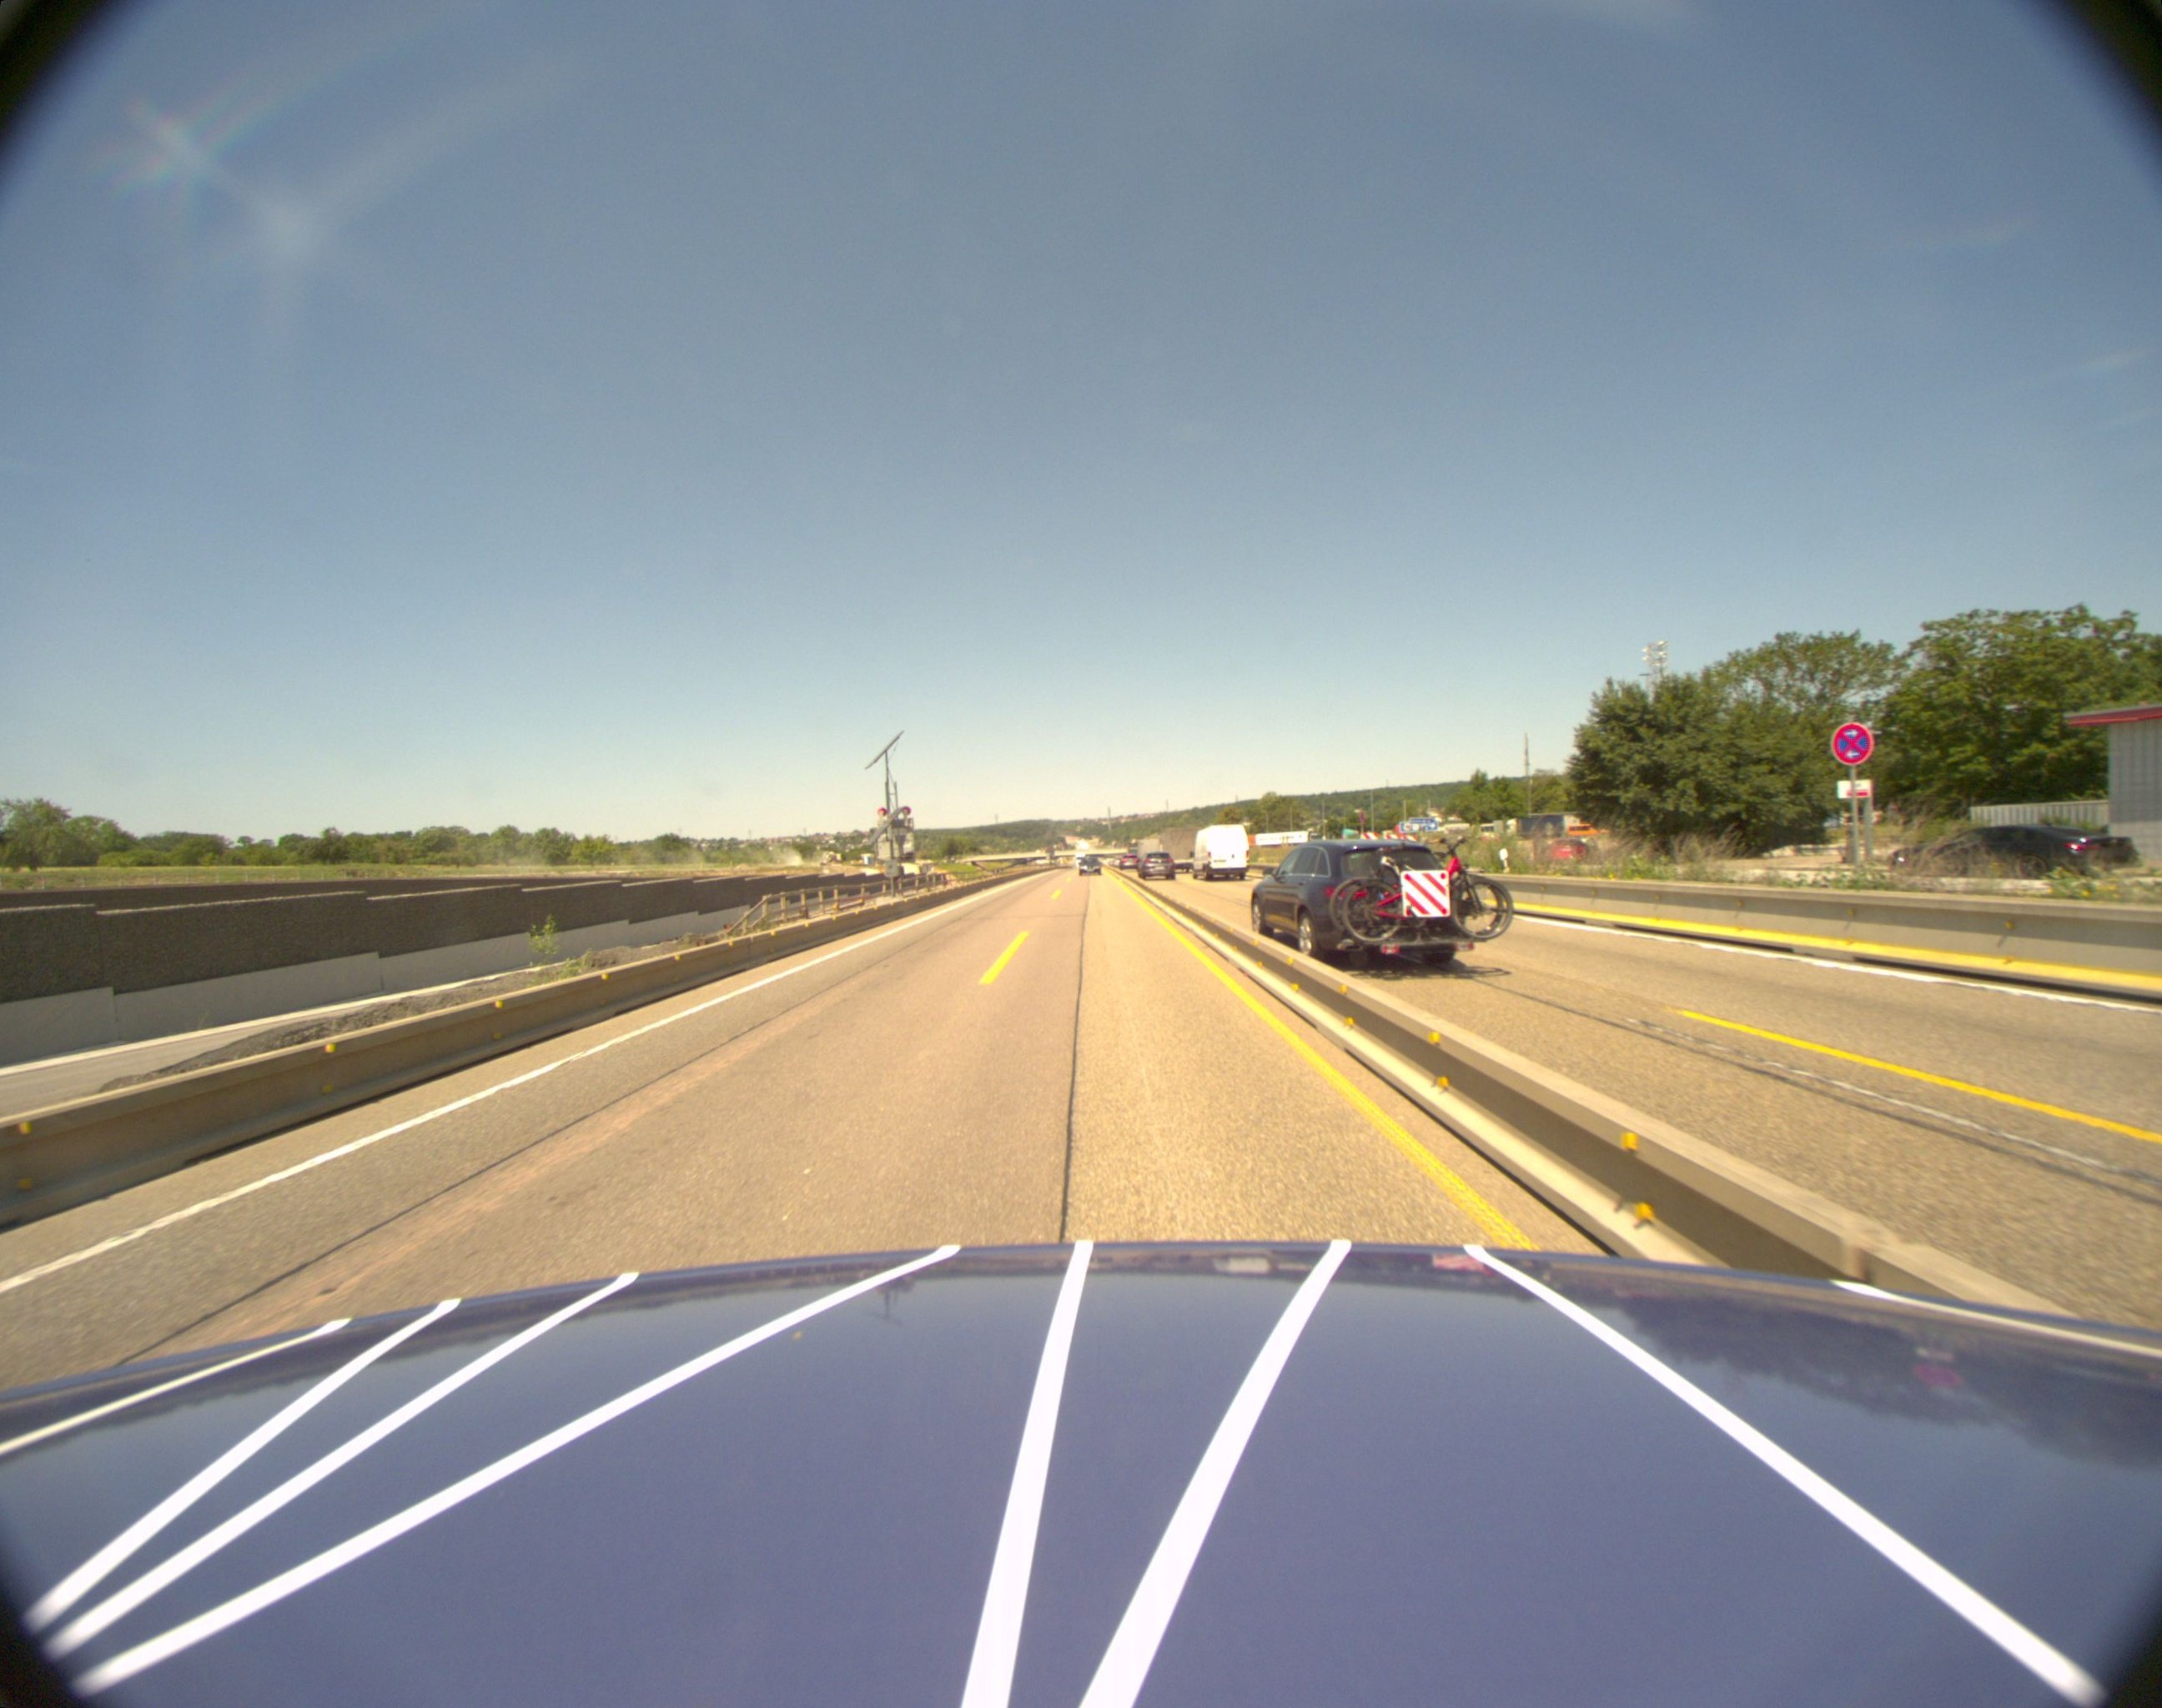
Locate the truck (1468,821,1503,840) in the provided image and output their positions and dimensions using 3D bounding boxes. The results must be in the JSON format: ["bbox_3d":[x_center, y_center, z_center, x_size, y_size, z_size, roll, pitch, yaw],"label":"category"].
[{"bbox_3d":[63.901,-3.642,120.181,2.275,2.751,5.631,-3,0,-1],"label":"truck"}]

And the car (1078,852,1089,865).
[{"bbox_3d":[0.597,1.067,195.645,2.544,3.126,7.548,-3,0,2],"label":"car"}]

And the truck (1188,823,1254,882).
[{"bbox_3d":[7.330,-0.076,40.539,2.245,2.770,6.492,-2,0,0],"label":"truck"}]

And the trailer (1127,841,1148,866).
[{"bbox_3d":[10.058,-0.133,135.981,3.014,4.173,13.852,-2,0,2],"label":"trailer"}]

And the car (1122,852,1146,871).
[{"bbox_3d":[4.762,0.662,68.994,1.947,1.649,4.745,-1,0,1],"label":"car"}]

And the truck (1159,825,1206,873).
[{"bbox_3d":[7.647,-0.410,58.219,2.501,3.273,8.116,-3,1,0],"label":"truck"}]

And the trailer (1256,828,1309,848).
[{"bbox_3d":[49.175,-3.963,185.910,2.625,3.762,12.721,-6,0,-45],"label":"trailer"}]

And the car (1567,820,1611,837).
[{"bbox_3d":[77.159,-3.916,115.485,2.003,2.240,5.014,-3,0,-33],"label":"car"}]

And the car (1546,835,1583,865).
[{"bbox_3d":[26.298,-0.236,41.400,1.500,1.324,4.192,-5,0,31],"label":"car"}]

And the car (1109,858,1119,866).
[{"bbox_3d":[6.313,1.442,145.375,1.771,1.465,4.228,-2,0,1],"label":"car"}]

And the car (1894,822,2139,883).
[{"bbox_3d":[25.241,0.007,20.766,1.649,1.347,4.001,-6,-1,0],"label":"car"}]

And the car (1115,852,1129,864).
[{"bbox_3d":[5.339,0.546,98.222,1.685,1.420,4.203,-2,0,3],"label":"car"}]

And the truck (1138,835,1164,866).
[{"bbox_3d":[8.122,-0.432,88.965,2.395,3.365,7.715,-3,0,2],"label":"truck"}]

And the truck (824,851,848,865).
[{"bbox_3d":[-68.658,1.122,213.056,3.155,3.444,8.759,-3,0,5],"label":"truck"}]

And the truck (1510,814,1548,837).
[{"bbox_3d":[77.702,-4.853,131.948,2.872,3.601,5.960,-3,0,1],"label":"truck"}]

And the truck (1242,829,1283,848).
[{"bbox_3d":[48.896,-4.203,204.948,9.869,4.195,3.590,-5,0,44],"label":"truck"}]

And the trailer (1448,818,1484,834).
[{"bbox_3d":[98.242,-7.113,194.019,2.951,3.360,11.705,-2,0,-1],"label":"trailer"}]

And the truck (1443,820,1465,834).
[{"bbox_3d":[98.127,-7.095,199.939,2.901,3.338,4.907,-3,0,-1],"label":"truck"}]

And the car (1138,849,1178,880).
[{"bbox_3d":[4.362,0.585,43.687,1.943,1.601,4.000,-2,0,2],"label":"car"}]

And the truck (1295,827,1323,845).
[{"bbox_3d":[54.281,-4.333,180.923,5.724,3.596,2.585,-5,0,42],"label":"truck"}]

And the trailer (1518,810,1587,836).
[{"bbox_3d":[77.598,-4.975,125.463,3.029,3.601,13.434,-3,0,1],"label":"trailer"}]

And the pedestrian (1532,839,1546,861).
[{"bbox_3d":[25.204,-0.224,41.825,0.474,1.197,0.586,-2,0,15],"label":"pedestrian"}]

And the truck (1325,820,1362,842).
[{"bbox_3d":[53.763,-4.709,155.705,2.838,3.728,6.131,-6,0,-45],"label":"truck"}]

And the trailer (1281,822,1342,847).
[{"bbox_3d":[48.688,-4.061,160.897,2.865,4.142,12.348,-6,0,-45],"label":"trailer"}]

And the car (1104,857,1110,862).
[{"bbox_3d":[7.507,1.523,223.013,1.651,1.359,3.945,-1,0,1],"label":"car"}]

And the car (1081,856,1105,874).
[{"bbox_3d":[0.954,0.852,58.547,1.810,1.299,4.000,-2,0,2],"label":"car"}]

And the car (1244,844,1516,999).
[{"bbox_3d":[3.701,0.729,10.467,1.860,1.594,4.735,-2,0,0],"label":"car"}]

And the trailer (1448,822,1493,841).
[{"bbox_3d":[63.785,-3.628,124.620,2.260,2.751,9.395,-3,0,-1],"label":"trailer"}]
